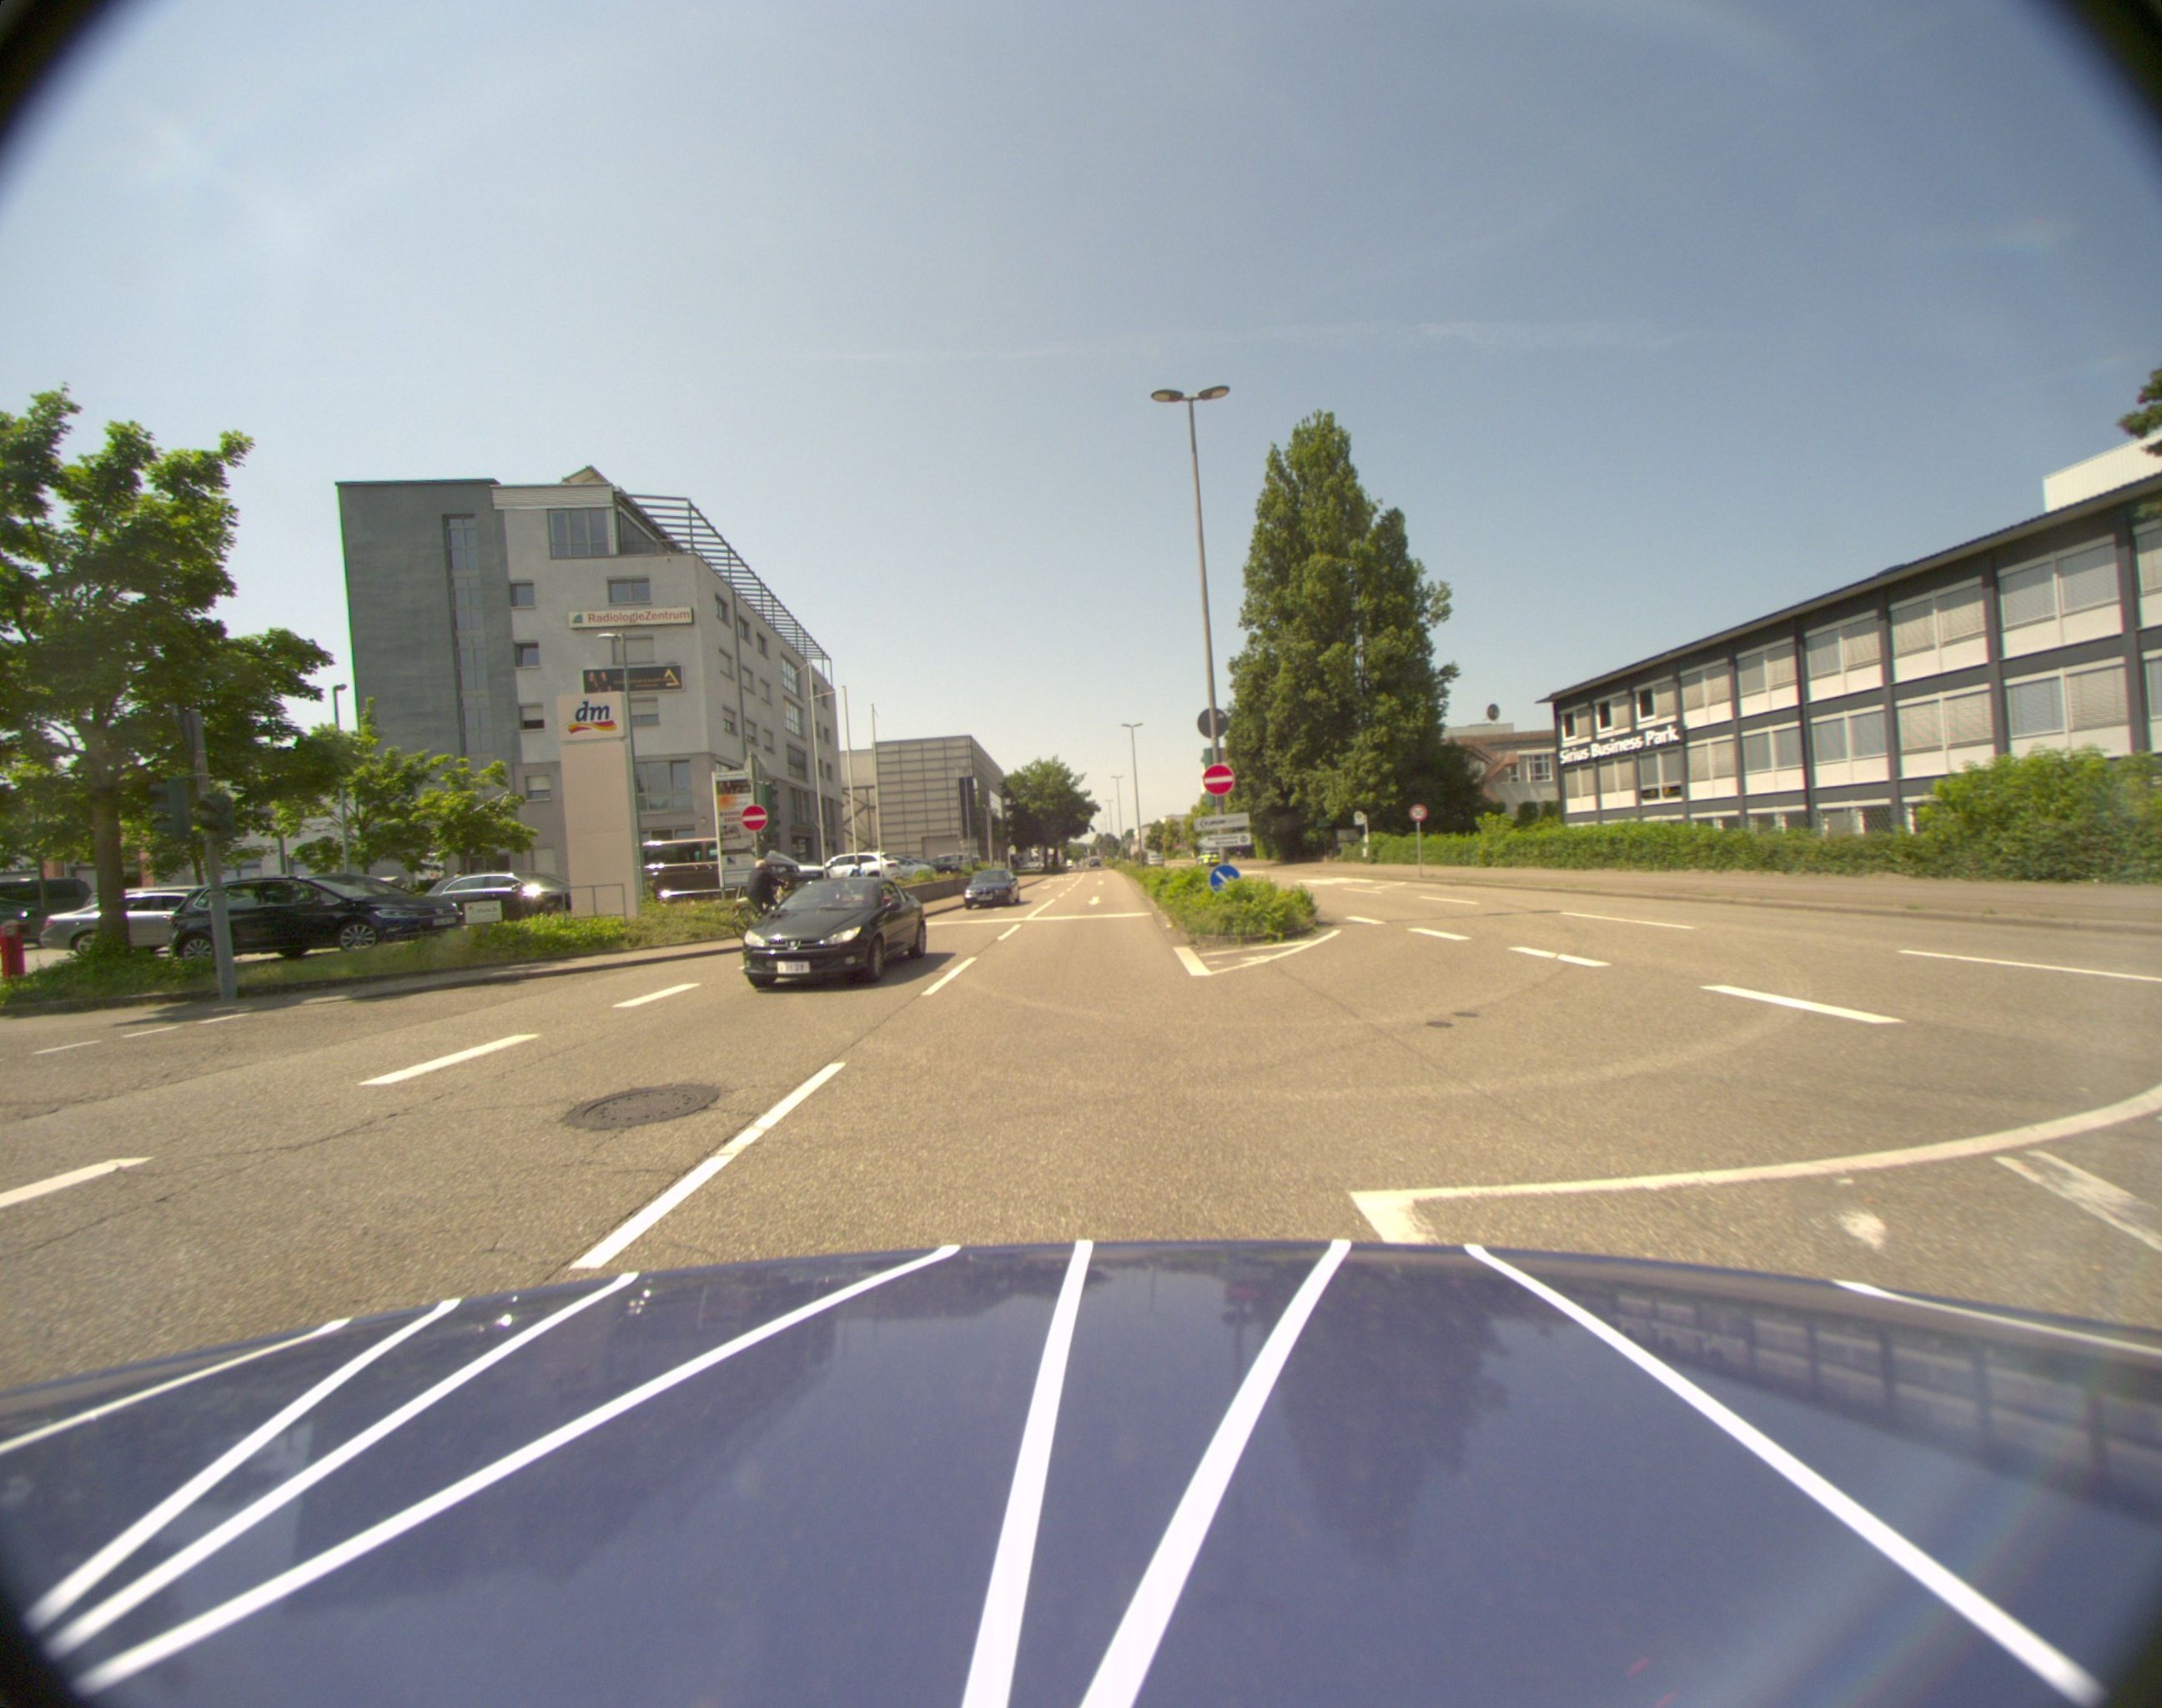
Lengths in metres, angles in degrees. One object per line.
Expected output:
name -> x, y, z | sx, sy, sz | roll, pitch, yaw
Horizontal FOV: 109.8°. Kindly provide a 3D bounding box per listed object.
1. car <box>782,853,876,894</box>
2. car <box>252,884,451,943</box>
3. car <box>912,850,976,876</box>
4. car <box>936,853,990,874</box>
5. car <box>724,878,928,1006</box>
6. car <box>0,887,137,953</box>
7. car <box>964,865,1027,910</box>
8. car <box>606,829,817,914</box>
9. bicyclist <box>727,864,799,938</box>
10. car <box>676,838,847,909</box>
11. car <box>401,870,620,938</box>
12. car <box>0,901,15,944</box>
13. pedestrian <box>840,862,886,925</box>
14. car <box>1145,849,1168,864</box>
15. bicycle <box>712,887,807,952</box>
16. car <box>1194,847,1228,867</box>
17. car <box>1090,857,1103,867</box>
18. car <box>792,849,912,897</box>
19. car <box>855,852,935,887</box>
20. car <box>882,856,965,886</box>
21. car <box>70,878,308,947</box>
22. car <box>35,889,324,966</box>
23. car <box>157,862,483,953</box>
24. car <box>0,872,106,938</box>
car -> -12.596, 0.987, 37.957 | 4.512, 1.598, 1.917 | -5, 1, 33
car -> -22.801, 1.803, 23.969 | 1.996, 1.477, 4.004 | -2, 0, 15
car -> -9.801, 0.646, 54.671 | 4.137, 1.477, 1.758 | -5, 1, 0
car -> -9.656, 0.795, 62.433 | 4.137, 1.477, 1.758 | -3, 1, 0
car -> -3.402, 1.113, 10.840 | 1.641, 1.348, 3.499 | -2, 0, 1
car -> -31.905, 2.060, 22.319 | 1.996, 1.702, 4.752 | -5, 1, 20
car -> -3.095, 1.193, 28.239 | 1.711, 1.316, 3.955 | -5, 0, 2
car -> -10.304, 0.474, 21.490 | 4.706, 1.787, 2.183 | -6, 0, 1
bicyclist -> -6.760, 0.980, 16.203 | 0.775, 1.455, 1.091 | -5, 1, 14
car -> -10.130, 0.583, 24.334 | 4.421, 1.690, 2.000 | -7, 1, 2
car -> -13.797, 1.171, 18.572 | 3.882, 1.331, 1.755 | -3, 0, -4
car -> -41.958, 2.644, 27.219 | 1.761, 1.565, 4.005 | -2, 0, 20
pedestrian -> -6.096, 1.095, 21.301 | 0.830, 1.616, 1.005 | -4, 2, 1
car -> 7.758, 0.247, 78.362 | 1.764, 1.410, 4.091 | -3, 1, -1
bicycle -> -6.773, 1.359, 16.129 | 0.758, 1.126, 1.909 | -5, 1, 14
car -> 10.904, 0.263, 63.936 | 1.899, 1.551, 4.286 | -2, 0, -2
car -> 2.529, 1.285, 123.527 | 1.867, 1.390, 4.001 | -2, 0, 2
car -> -9.795, 0.778, 32.800 | 4.475, 1.600, 2.096 | -5, 1, -3
car -> -9.971, 0.798, 40.891 | 4.001, 1.477, 1.756 | -5, 1, -12
car -> -9.710, 1.033, 47.149 | 4.761, 1.373, 1.799 | -5, 1, -3
car -> -26.169, 1.651, 22.499 | 1.669, 1.590, 4.199 | -3, 1, 26
car -> -21.170, 1.667, 18.085 | 4.003, 1.390, 1.813 | -3, 0, -20
car -> -14.001, 0.940, 14.220 | 3.998, 1.331, 1.862 | -3, 0, -4
car -> -38.329, 1.872, 27.495 | 1.669, 2.179, 3.436 | -5, -1, 28
